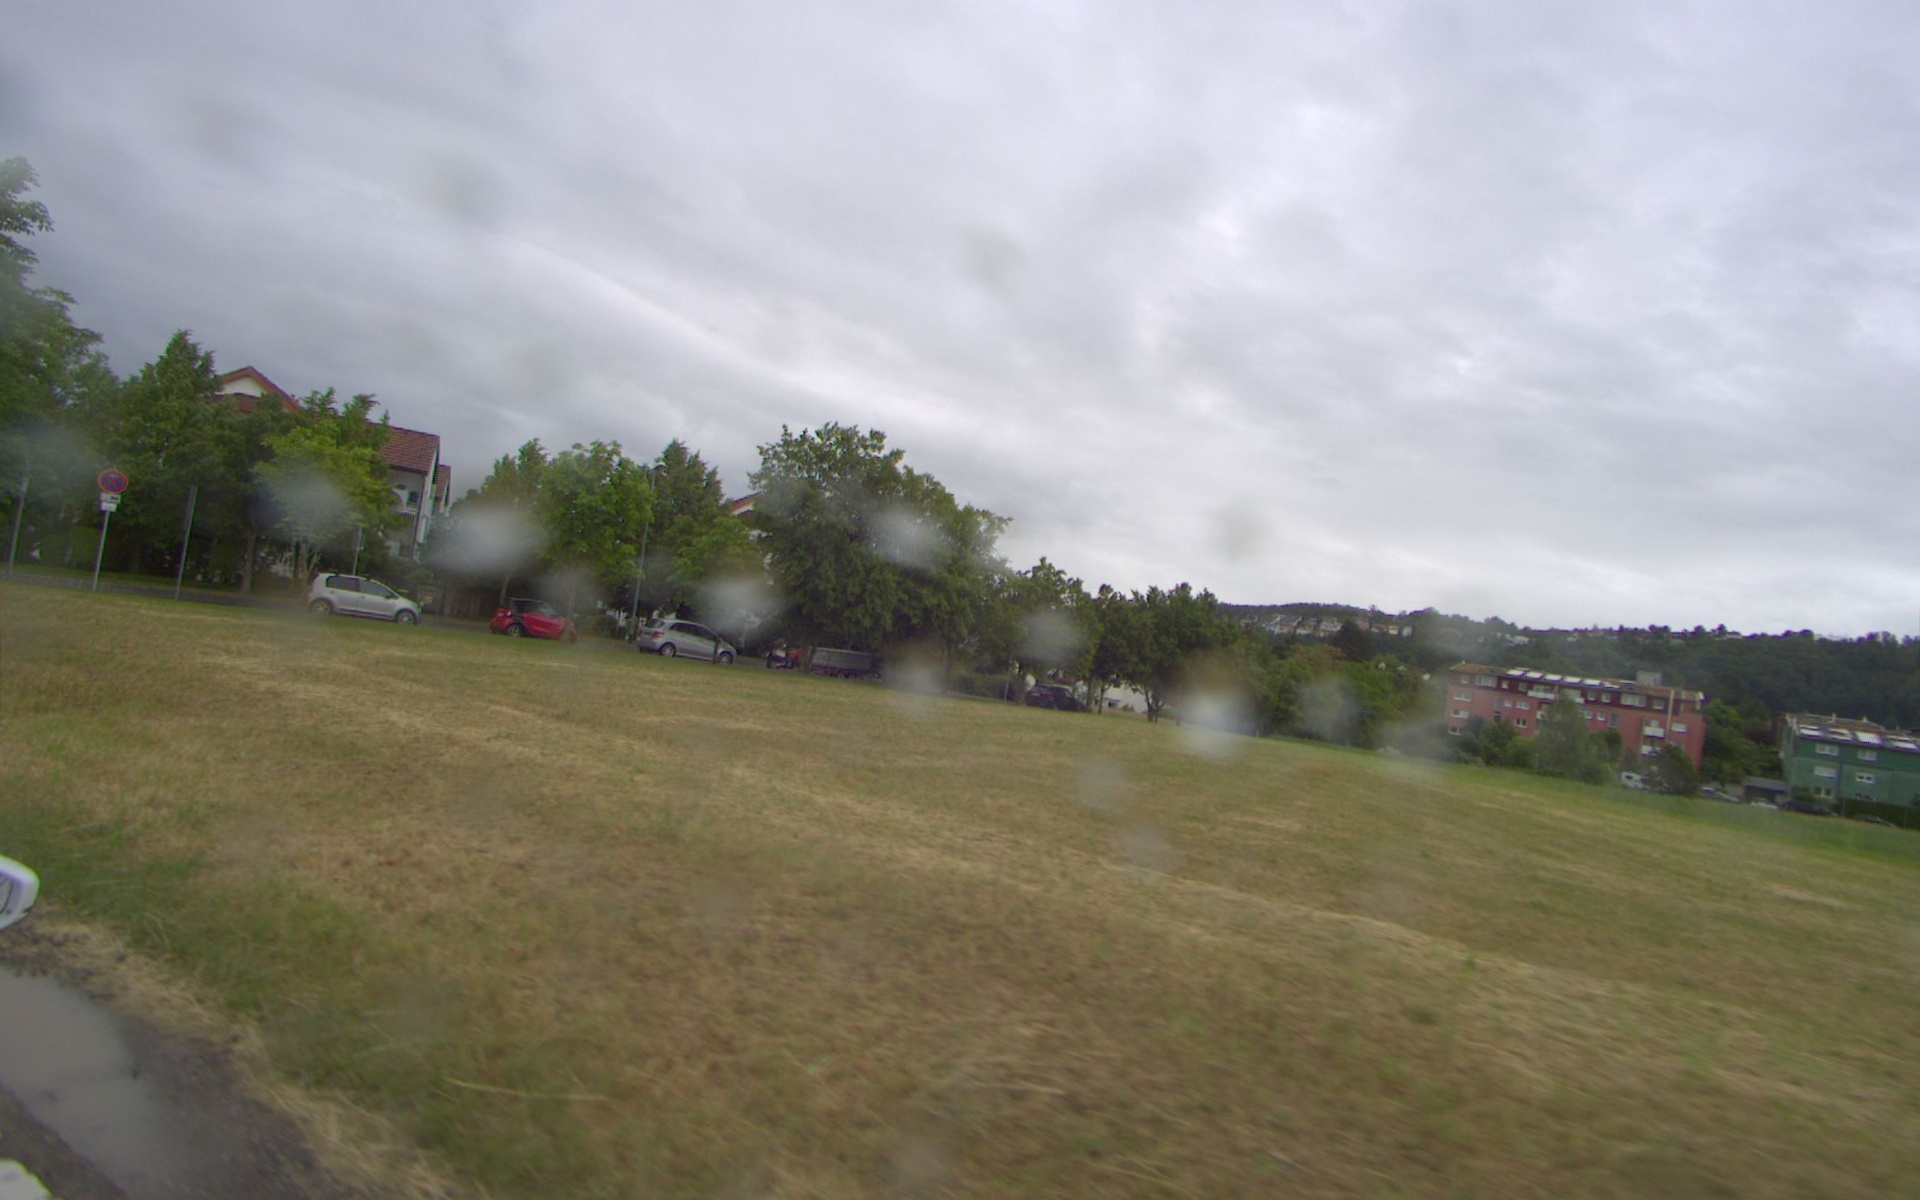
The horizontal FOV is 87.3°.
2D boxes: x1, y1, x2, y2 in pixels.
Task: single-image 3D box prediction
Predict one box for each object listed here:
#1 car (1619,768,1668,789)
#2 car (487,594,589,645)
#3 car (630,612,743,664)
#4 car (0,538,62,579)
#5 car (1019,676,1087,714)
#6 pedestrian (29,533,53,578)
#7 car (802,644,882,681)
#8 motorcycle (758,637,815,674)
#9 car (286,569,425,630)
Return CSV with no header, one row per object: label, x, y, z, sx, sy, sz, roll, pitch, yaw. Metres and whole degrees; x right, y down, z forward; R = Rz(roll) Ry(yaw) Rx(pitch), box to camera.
car,91.556,23.897,134.741,5.207,2.036,1.993,3,-4,40
car,-15.452,0.721,36.871,2.994,1.451,1.536,10,-5,-42
car,-11.177,1.573,41.242,1.828,1.568,3.974,4,-5,43
car,-45.493,-2.093,47.651,3.947,1.683,1.771,7,-2,-23
car,5.597,5.706,60.203,1.935,1.623,3.991,5,-7,41
pedestrian,-43.390,-2.087,47.492,0.553,2.037,0.520,7,-1,-31
car,-5.505,2.949,47.126,1.711,1.295,3.315,4,-4,42
motorcycle,-7.624,2.440,44.313,0.958,1.316,2.256,5,-4,43
car,-19.648,0.001,32.779,3.531,1.495,1.661,9,-4,-41
